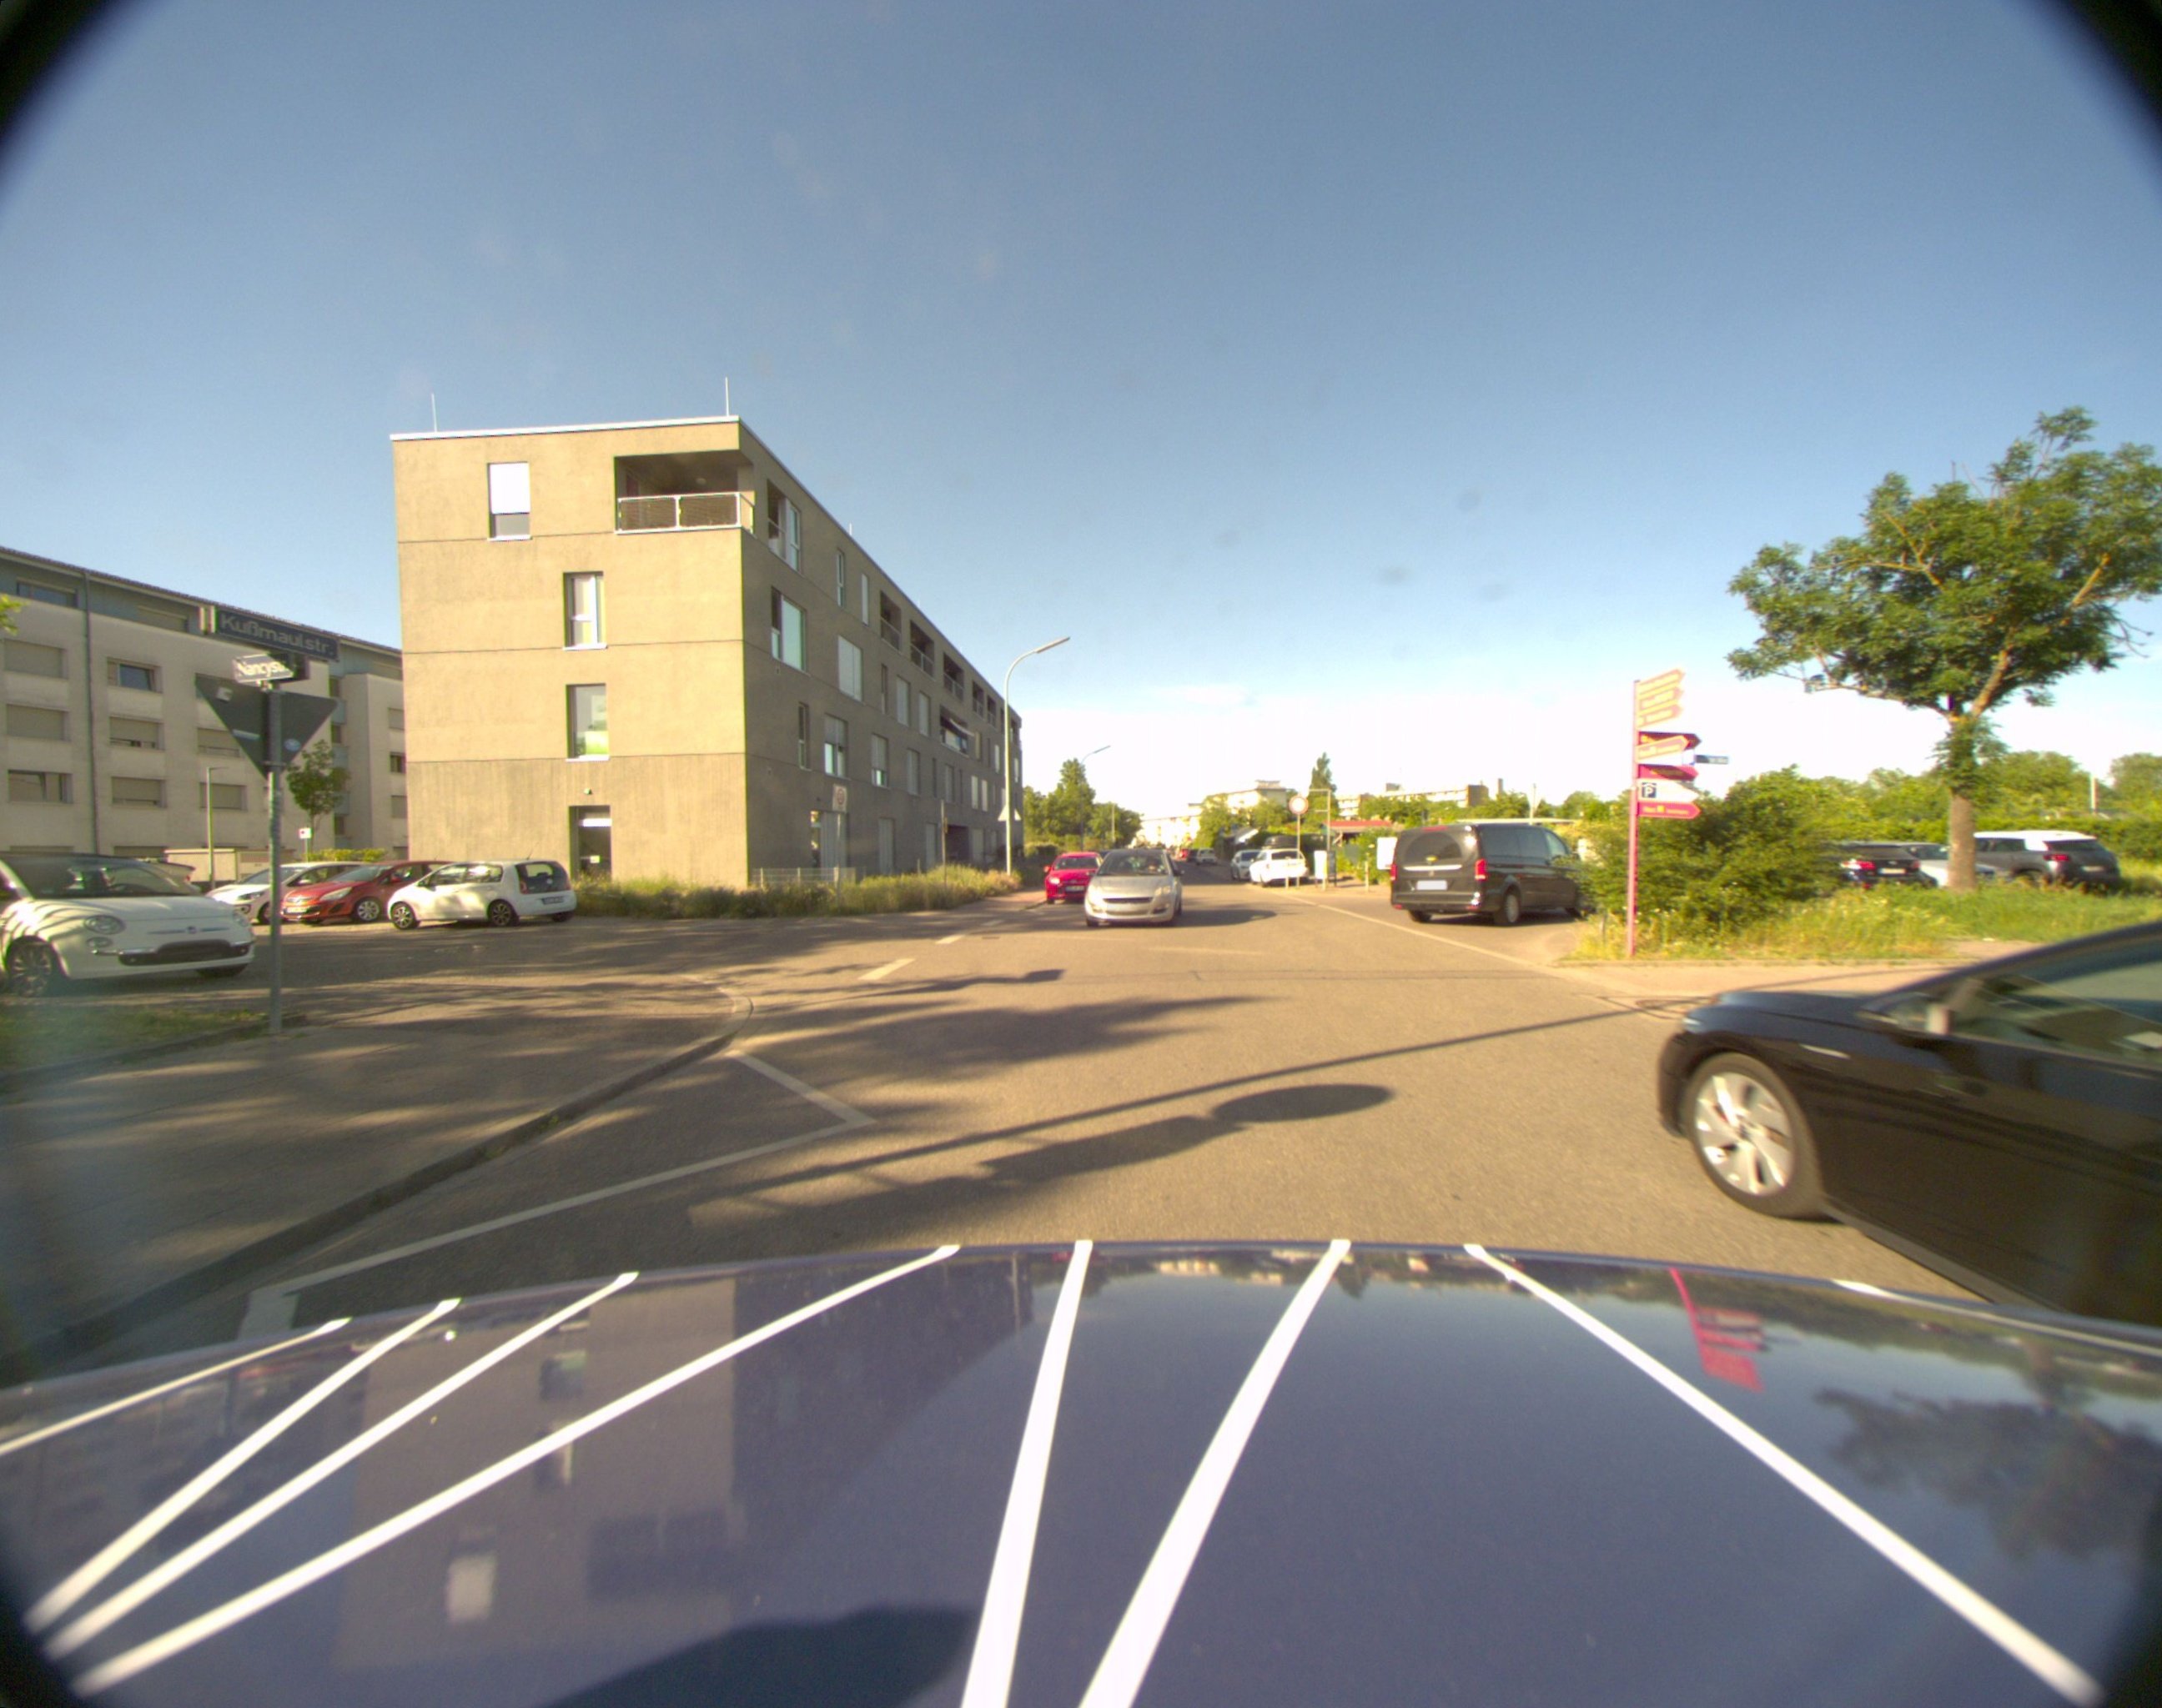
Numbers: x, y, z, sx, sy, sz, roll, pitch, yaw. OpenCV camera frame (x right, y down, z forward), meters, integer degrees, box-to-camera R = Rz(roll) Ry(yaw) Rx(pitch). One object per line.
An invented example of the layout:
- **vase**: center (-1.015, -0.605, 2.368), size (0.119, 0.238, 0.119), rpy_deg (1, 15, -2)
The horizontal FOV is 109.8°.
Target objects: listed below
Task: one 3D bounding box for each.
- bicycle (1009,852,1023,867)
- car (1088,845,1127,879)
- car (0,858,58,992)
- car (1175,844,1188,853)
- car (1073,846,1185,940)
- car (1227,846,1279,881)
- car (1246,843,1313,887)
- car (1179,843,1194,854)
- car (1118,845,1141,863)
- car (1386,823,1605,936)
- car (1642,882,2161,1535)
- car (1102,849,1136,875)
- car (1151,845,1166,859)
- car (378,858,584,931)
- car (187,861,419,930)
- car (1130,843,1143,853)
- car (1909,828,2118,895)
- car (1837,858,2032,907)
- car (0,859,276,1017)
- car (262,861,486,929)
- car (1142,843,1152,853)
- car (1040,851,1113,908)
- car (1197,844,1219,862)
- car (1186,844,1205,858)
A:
- **bicycle**: center (-4.641, 0.384, 54.409), size (0.553, 1.055, 1.843), rpy_deg (-1, 1, 9)
- **car**: center (1.460, 0.391, 40.009), size (1.821, 1.590, 4.628), rpy_deg (-3, 1, 4)
- **car**: center (-15.354, 0.902, 9.108), size (4.161, 1.627, 1.756), rpy_deg (-1, 1, 6)
- **car**: center (14.753, -0.832, 111.311), size (1.699, 1.361, 3.911), rpy_deg (-1, 1, 5)
- **car**: center (1.060, 0.630, 14.751), size (1.677, 1.441, 4.002), rpy_deg (0, 2, 11)
- **car**: center (8.184, 0.392, 36.471), size (1.750, 1.437, 4.542), rpy_deg (-4, 1, 5)
- **car**: center (7.697, 0.375, 29.848), size (1.699, 1.504, 4.518), rpy_deg (-3, 0, 5)
- **car**: center (14.040, -0.715, 101.367), size (1.699, 1.421, 4.387), rpy_deg (-1, 1, 5)
- **car**: center (4.472, -0.045, 69.924), size (1.748, 1.558, 4.805), rpy_deg (-2, 1, 7)
- **car**: center (8.359, 0.371, 15.058), size (5.264, 1.857, 1.956), rpy_deg (-2, 1, -39)
- **car**: center (3.381, 0.889, 1.512), size (1.707, 1.443, 4.087), rpy_deg (0, 1, 4)
- **car**: center (2.334, 0.443, 45.778), size (1.748, 1.421, 4.587), rpy_deg (-3, 1, 6)
- **car**: center (10.303, -0.265, 100.934), size (1.946, 1.717, 4.840), rpy_deg (0, 1, 7)
- **car**: center (-13.079, 0.849, 16.665), size (3.332, 1.450, 1.716), rpy_deg (-1, 1, 10)
- **car**: center (-19.902, 0.983, 19.729), size (1.696, 1.511, 4.001), rpy_deg (0, 1, 5)
- **car**: center (8.815, -0.903, 120.500), size (1.872, 1.517, 4.156), rpy_deg (-1, 1, 6)
- **car**: center (25.427, 0.170, 20.952), size (1.508, 1.685, 3.849), rpy_deg (-1, 1, 11)
- **car**: center (23.051, 0.721, 20.762), size (1.508, 1.145, 3.849), rpy_deg (-1, 1, 11)
- **car**: center (-11.233, 0.825, 8.210), size (3.554, 1.477, 1.601), rpy_deg (-1, 1, 6)
- **car**: center (-17.530, 0.937, 19.149), size (1.696, 1.461, 4.001), rpy_deg (0, 1, 5)
- **car**: center (13.643, -1.248, 157.425), size (1.998, 2.002, 4.001), rpy_deg (0, 1, 5)
- **car**: center (-0.031, 0.694, 23.225), size (1.823, 1.491, 4.453), rpy_deg (-2, 1, 4)
- **car**: center (10.964, -0.086, 65.605), size (1.531, 1.479, 3.402), rpy_deg (-1, 1, 5)
- **car**: center (12.493, -0.322, 83.026), size (1.699, 1.415, 4.518), rpy_deg (-3, 1, 5)
